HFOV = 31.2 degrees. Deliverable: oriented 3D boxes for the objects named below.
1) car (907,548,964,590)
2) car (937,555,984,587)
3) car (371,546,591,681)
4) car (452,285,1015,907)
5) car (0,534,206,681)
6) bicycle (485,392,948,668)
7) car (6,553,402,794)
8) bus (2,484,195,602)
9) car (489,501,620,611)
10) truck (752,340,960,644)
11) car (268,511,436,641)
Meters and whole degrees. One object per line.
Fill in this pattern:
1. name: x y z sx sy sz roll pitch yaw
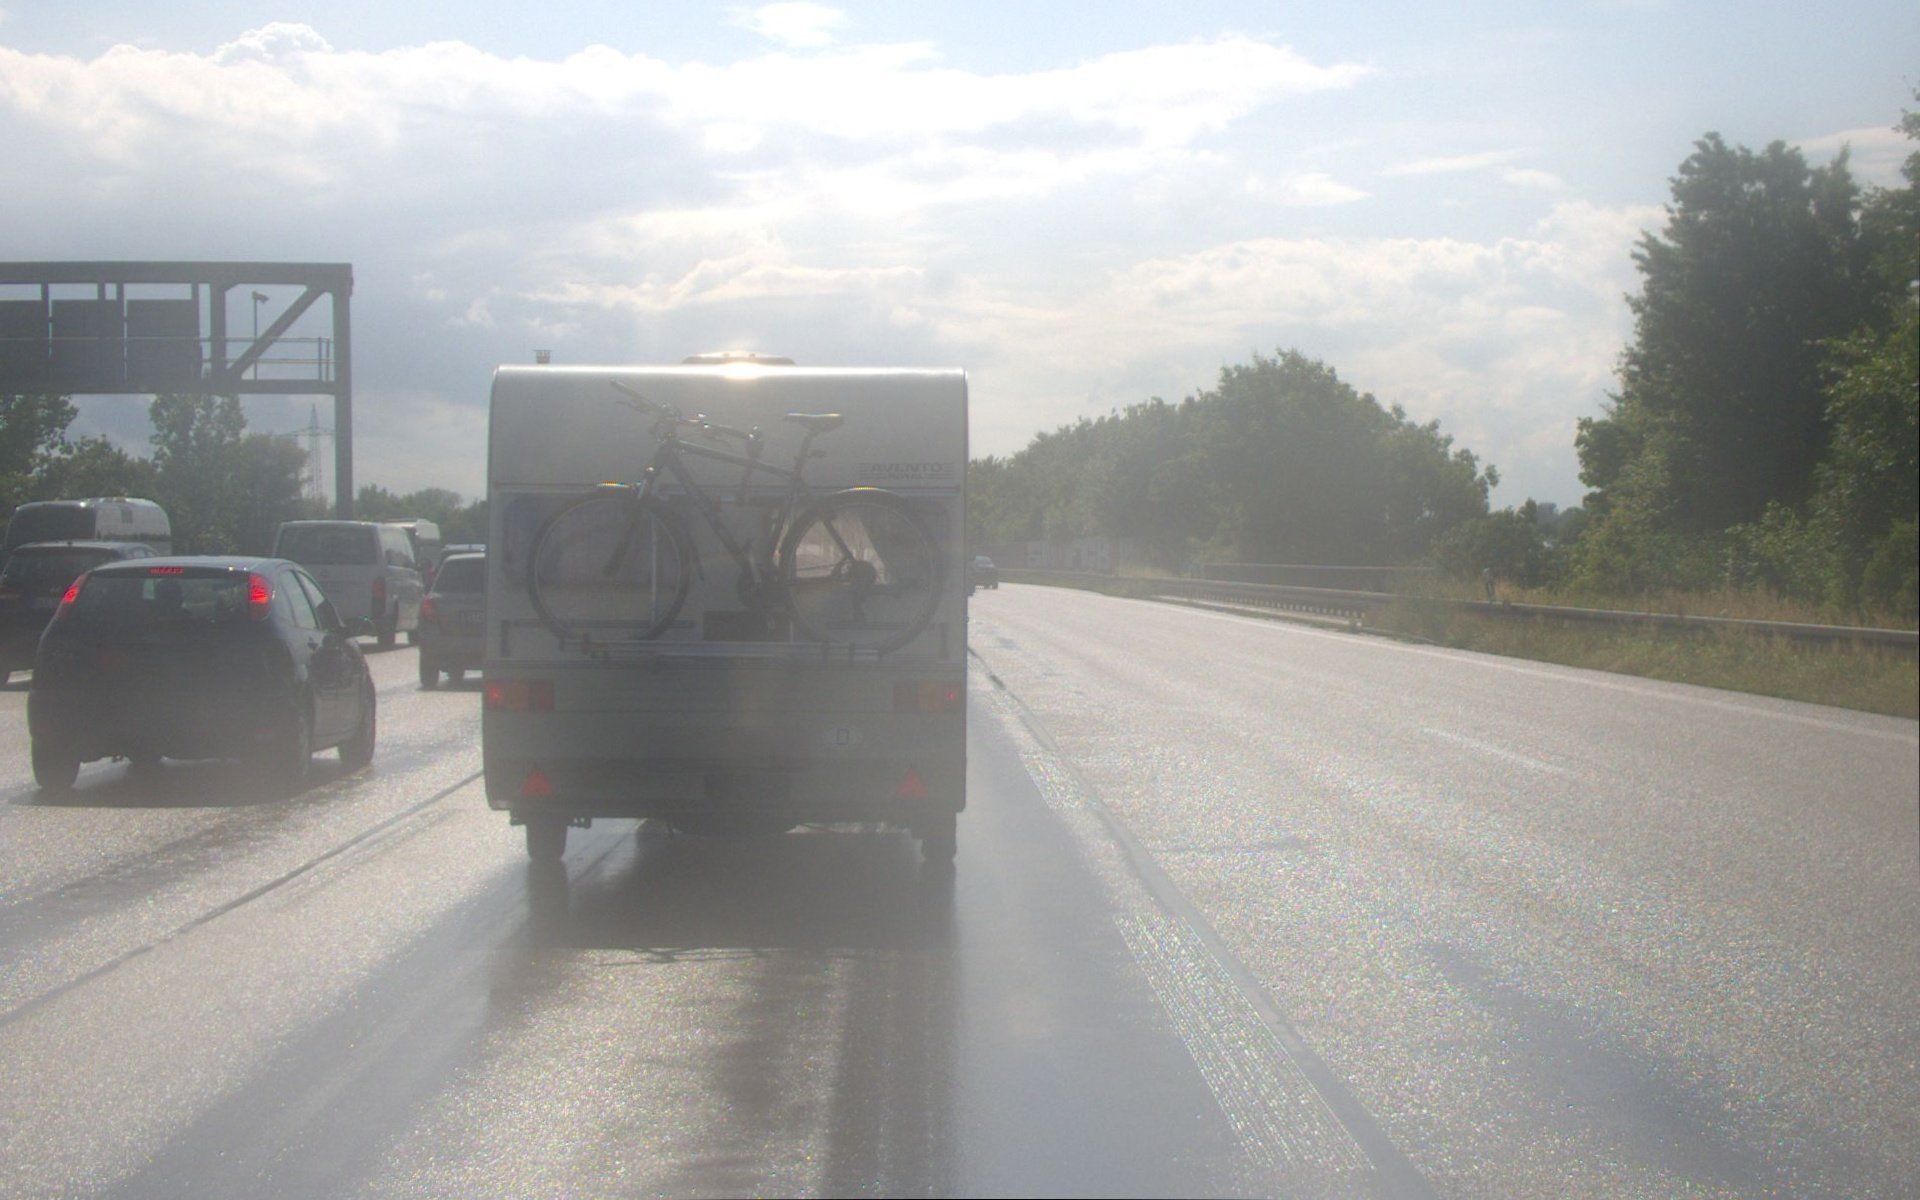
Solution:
1. car: -0.947 -1.175 129.401 1.835 1.552 4.001 1 1 -5
2. car: 0.021 -1.369 161.085 1.876 1.489 4.001 1 1 -5
3. car: -5.413 0.117 39.295 1.987 1.453 3.827 0 1 0
4. car: -0.986 -0.038 16.904 2.410 2.665 4.000 1 1 0
5. car: -9.767 0.048 38.788 1.783 1.573 3.916 0 1 -2
6. bicycle: -1.029 -0.297 14.690 1.934 1.137 0.384 1 0 1
7. car: -4.920 0.422 22.881 1.758 1.438 4.000 0 1 0
8. bus: -26.040 -1.713 104.619 2.891 3.362 12.471 0 1 -1
9. car: -6.356 -0.694 54.183 1.689 1.656 3.641 0 1 -1
10. truck: -1.756 -1.717 57.747 3.146 4.610 10.737 0 1 -2
11. car: -9.437 -0.398 53.691 1.848 1.927 5.017 0 1 -1
